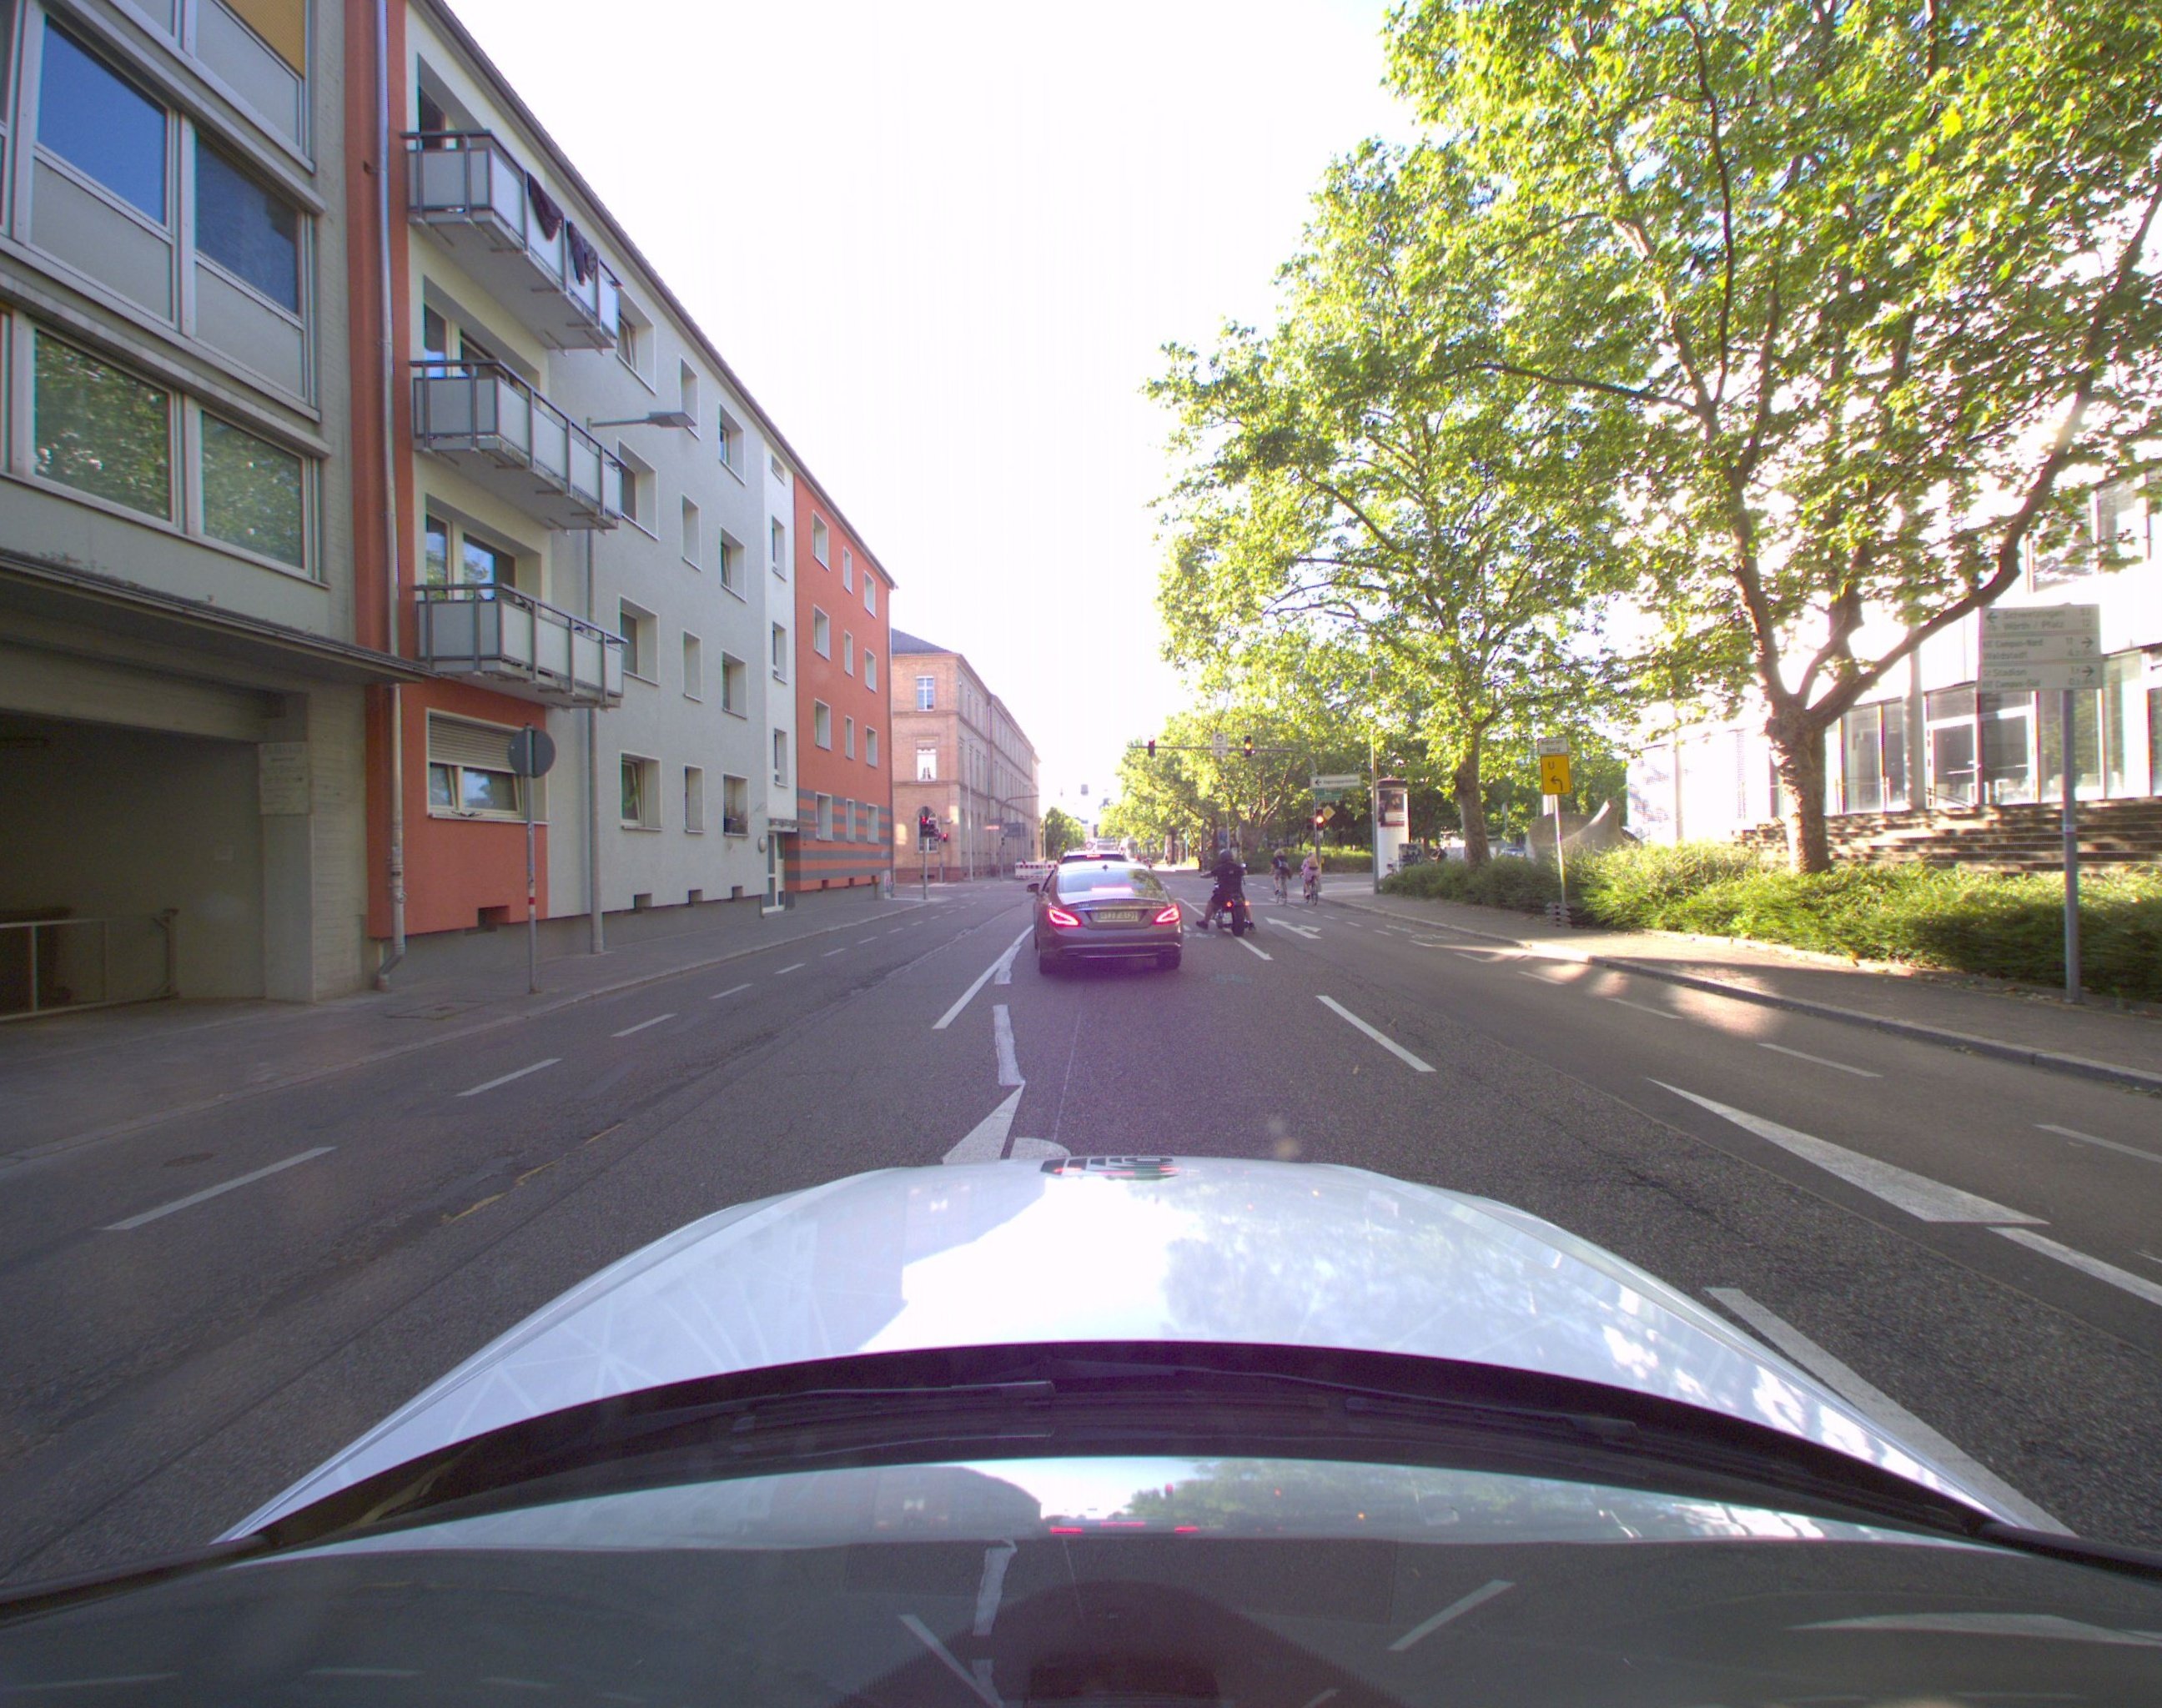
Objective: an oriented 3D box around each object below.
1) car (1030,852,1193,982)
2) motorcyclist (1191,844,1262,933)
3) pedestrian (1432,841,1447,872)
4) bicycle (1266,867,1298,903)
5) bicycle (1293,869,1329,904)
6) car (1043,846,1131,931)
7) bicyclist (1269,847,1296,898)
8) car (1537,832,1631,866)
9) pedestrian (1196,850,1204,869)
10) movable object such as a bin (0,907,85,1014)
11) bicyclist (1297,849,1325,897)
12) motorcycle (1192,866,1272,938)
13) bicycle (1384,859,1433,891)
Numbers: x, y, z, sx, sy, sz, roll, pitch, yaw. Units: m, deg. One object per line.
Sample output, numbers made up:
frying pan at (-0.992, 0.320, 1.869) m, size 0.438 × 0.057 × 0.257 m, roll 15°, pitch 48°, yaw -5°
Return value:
car at (0.234, 0.744, 11.766) m, size 1.818 × 1.476 × 4.346 m, roll -1°, pitch 0°, yaw -5°
motorcyclist at (2.758, 0.642, 15.558) m, size 1.109 × 1.613 × 1.202 m, roll -1°, pitch 0°, yaw 0°
pedestrian at (21.093, 0.154, 47.912) m, size 0.617 × 1.784 × 0.631 m, roll -1°, pitch 0°, yaw 4°
bicycle at (6.154, 0.944, 25.017) m, size 0.608 × 1.026 × 1.732 m, roll 0°, pitch 0°, yaw 2°
bicycle at (6.987, 0.964, 24.790) m, size 0.598 × 0.985 × 1.882 m, roll 1°, pitch 0°, yaw 2°
car at (0.143, 0.680, 17.808) m, size 1.676 × 1.625 × 3.841 m, roll -1°, pitch 0°, yaw 1°
bicyclist at (6.153, 0.563, 24.903) m, size 0.608 × 1.516 × 0.890 m, roll 0°, pitch 0°, yaw 2°
car at (28.042, -0.258, 45.534) m, size 3.975 × 1.784 × 2.004 m, roll -1°, pitch 0°, yaw 7°
pedestrian at (10.439, 0.491, 71.446) m, size 0.557 × 1.678 × 0.565 m, roll -1°, pitch 0°, yaw 1°
movable object such as a bin at (-11.303, 1.111, 8.636) m, size 0.584 × 1.040 × 0.712 m, roll -1°, pitch 0°, yaw 2°
bicyclist at (6.996, 0.567, 24.823) m, size 0.598 × 1.402 × 0.931 m, roll 1°, pitch 0°, yaw 2°
motorcycle at (2.807, 0.854, 15.494) m, size 1.004 × 1.204 × 2.665 m, roll -1°, pitch 0°, yaw 0°
bicycle at (10.985, 0.707, 27.335) m, size 1.411 × 1.037 × 0.538 m, roll -1°, pitch 0°, yaw -2°
